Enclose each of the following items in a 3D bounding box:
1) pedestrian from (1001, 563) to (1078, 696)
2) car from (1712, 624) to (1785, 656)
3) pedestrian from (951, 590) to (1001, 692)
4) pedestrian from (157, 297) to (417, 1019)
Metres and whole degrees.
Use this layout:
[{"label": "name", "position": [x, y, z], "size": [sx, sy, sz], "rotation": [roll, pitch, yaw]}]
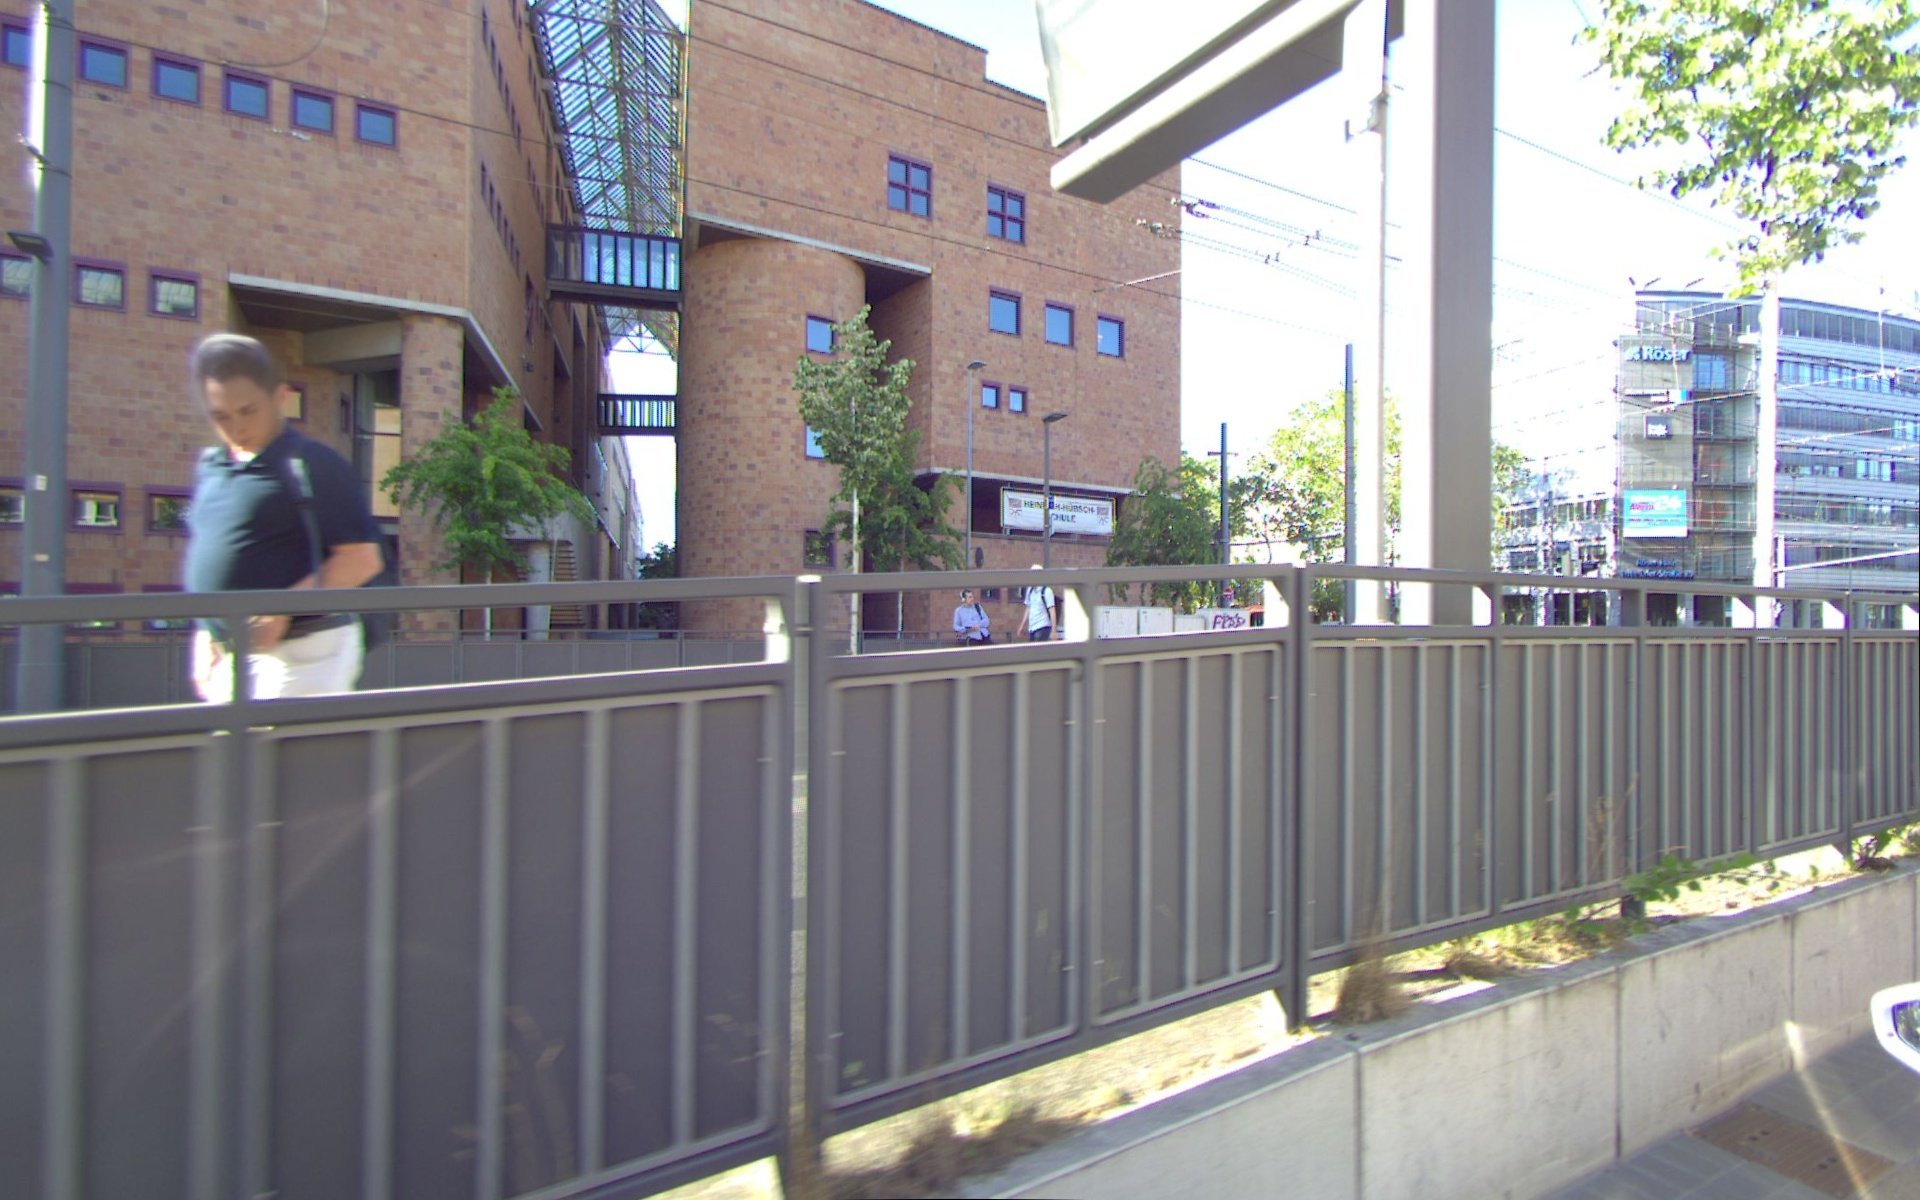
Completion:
[{"label": "pedestrian", "position": [1.129, 0.415, 14.348], "size": [0.886, 1.841, 0.611], "rotation": [1, 0, -30]}, {"label": "car", "position": [39.366, 1.965, 50.120], "size": [3.964, 1.483, 1.979], "rotation": [1, -1, -38]}, {"label": "pedestrian", "position": [0.260, 0.660, 16.467], "size": [0.608, 1.630, 0.561], "rotation": [1, 0, -30]}, {"label": "pedestrian", "position": [-1.777, 0.140, 2.719], "size": [0.515, 1.691, 0.546], "rotation": [1, 0, -29]}]
